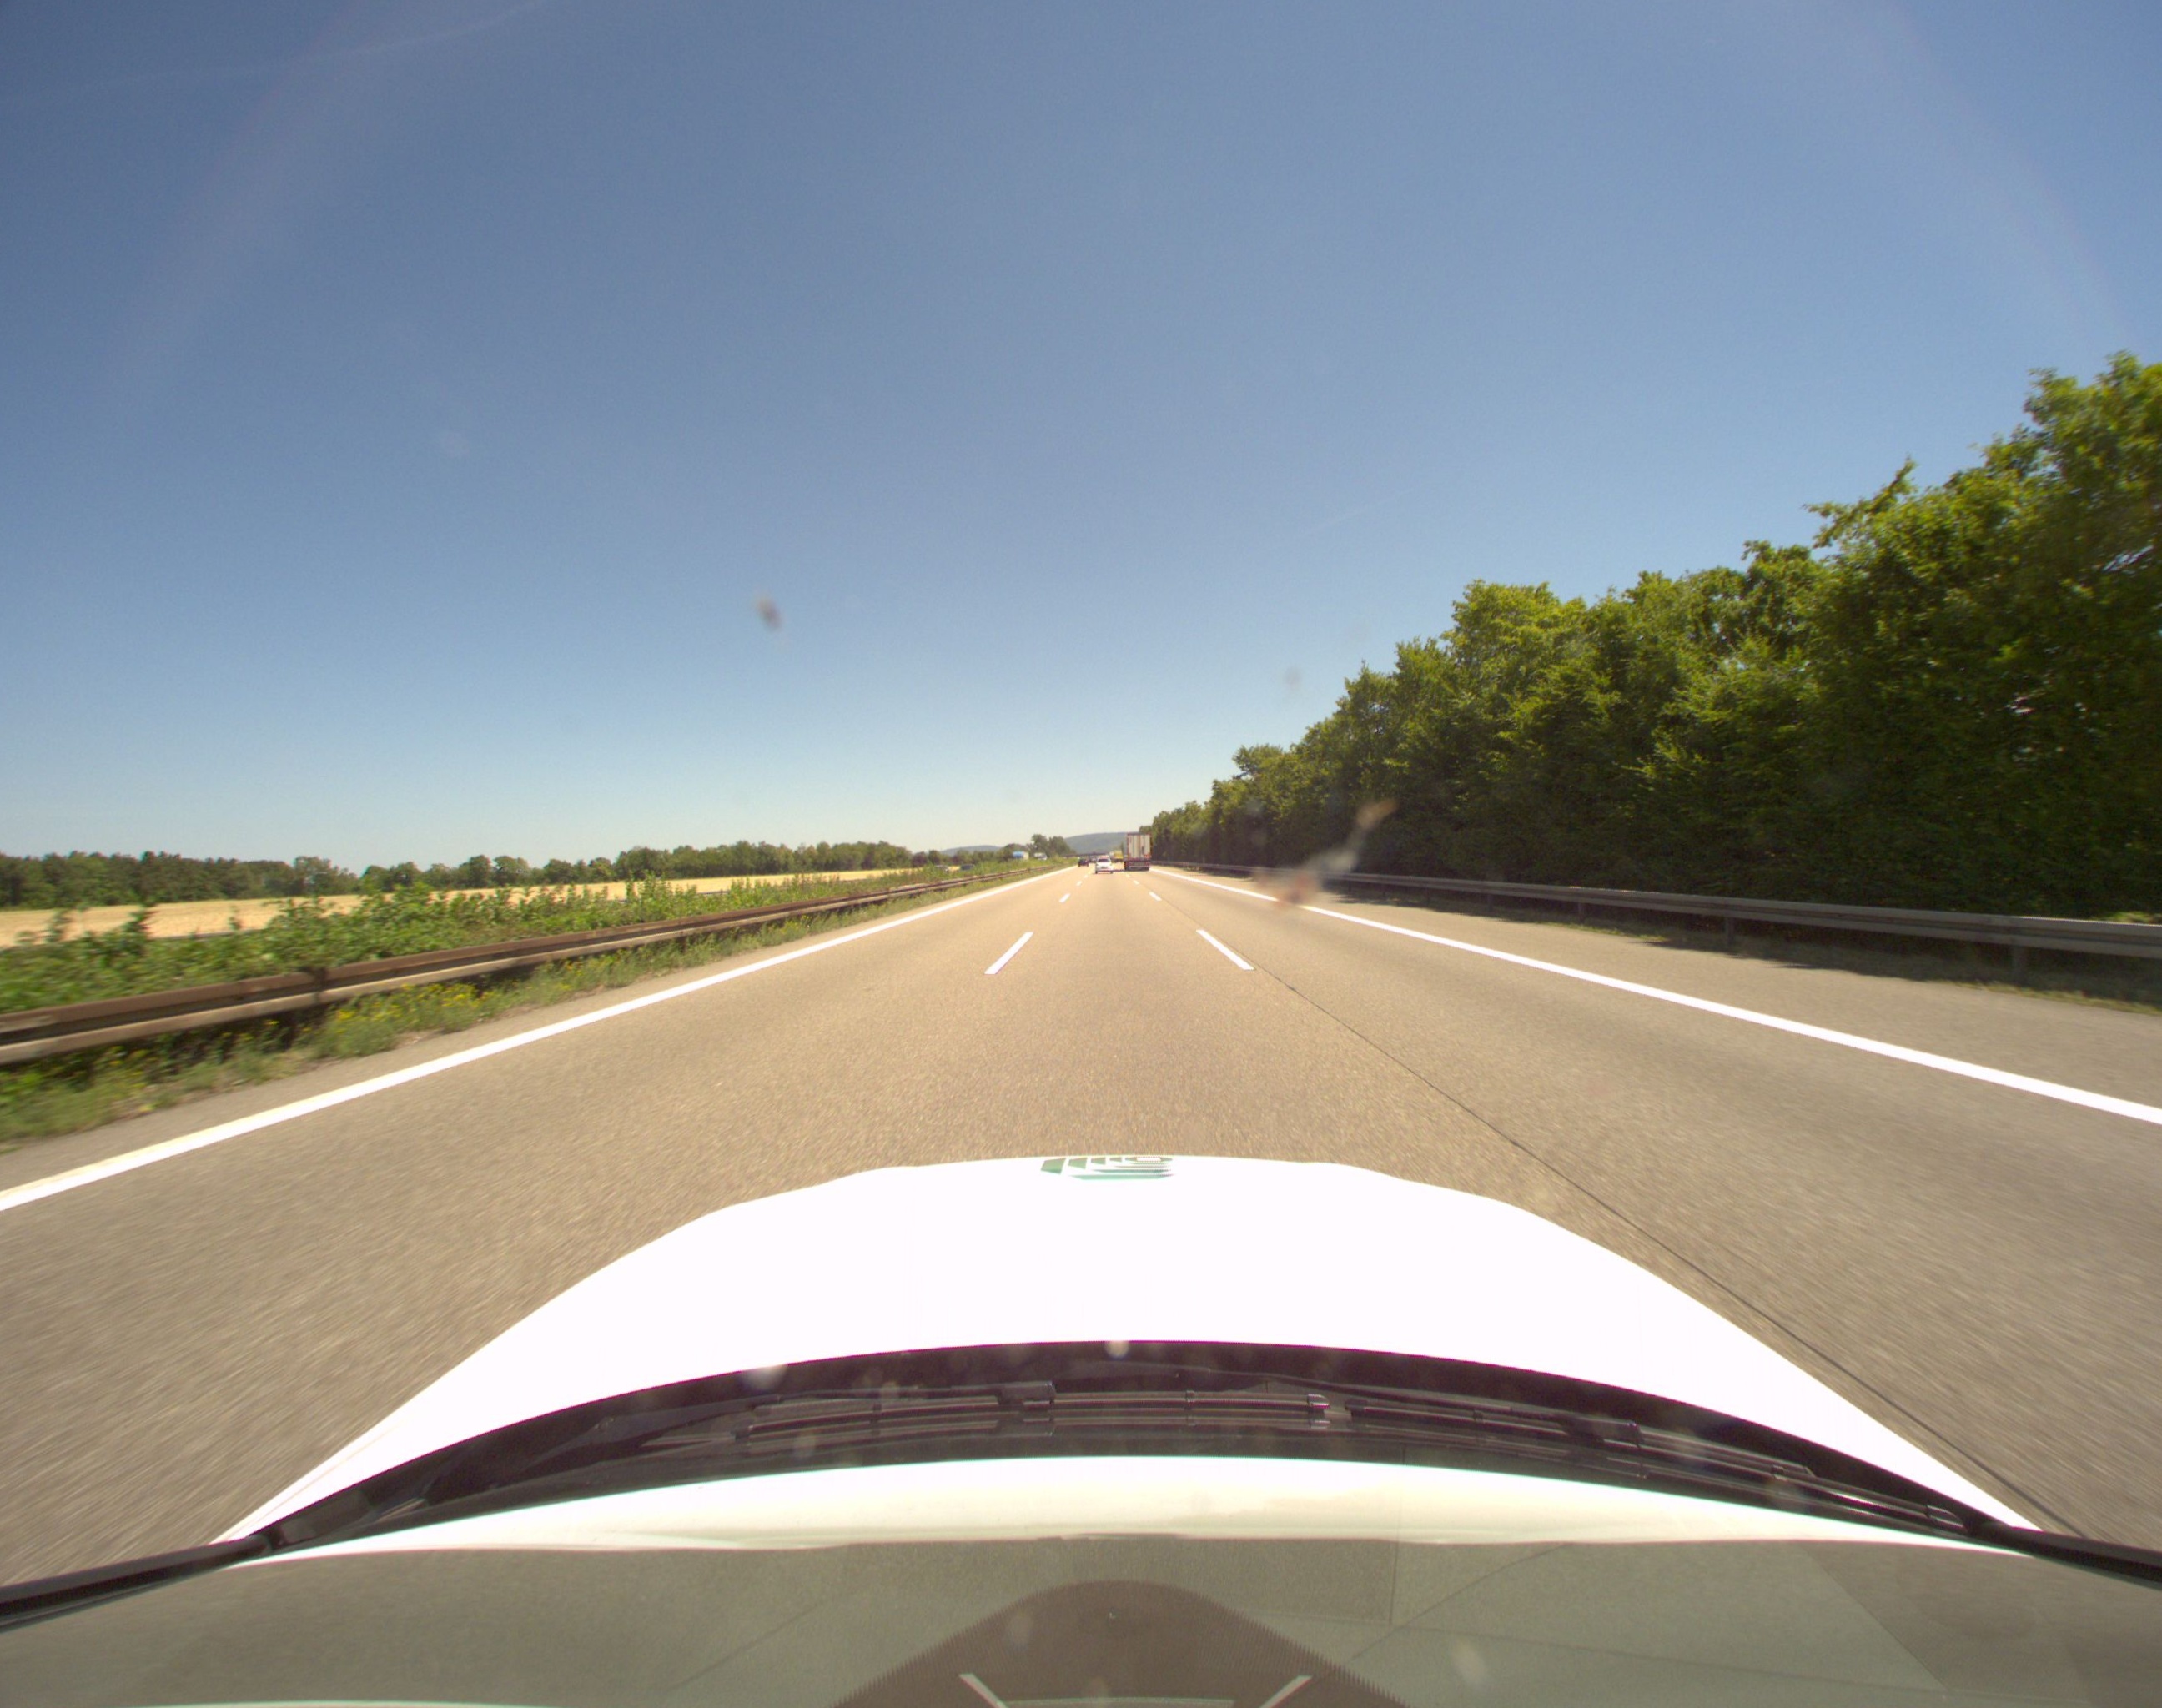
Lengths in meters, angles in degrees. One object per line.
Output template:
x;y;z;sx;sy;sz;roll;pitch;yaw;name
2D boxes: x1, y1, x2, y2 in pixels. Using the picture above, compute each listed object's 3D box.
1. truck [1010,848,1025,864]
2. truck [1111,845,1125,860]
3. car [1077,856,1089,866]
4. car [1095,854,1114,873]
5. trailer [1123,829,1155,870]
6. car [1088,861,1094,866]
-15.215;0.506;196.261;3.098;3.698;5.200;-1;0;2;truck
10.914;-0.326;241.663;3.857;4.345;13.864;-1;0;1;truck
0.345;1.143;142.358;1.987;1.712;4.000;-1;0;1;car
2.233;0.873;78.366;1.726;1.684;4.000;-2;0;1;car
6.581;-0.504;93.878;3.205;4.345;13.636;-1;0;2;trailer
2.982;2.823;237.498;1.789;1.551;4.001;-1;-1;1;car
